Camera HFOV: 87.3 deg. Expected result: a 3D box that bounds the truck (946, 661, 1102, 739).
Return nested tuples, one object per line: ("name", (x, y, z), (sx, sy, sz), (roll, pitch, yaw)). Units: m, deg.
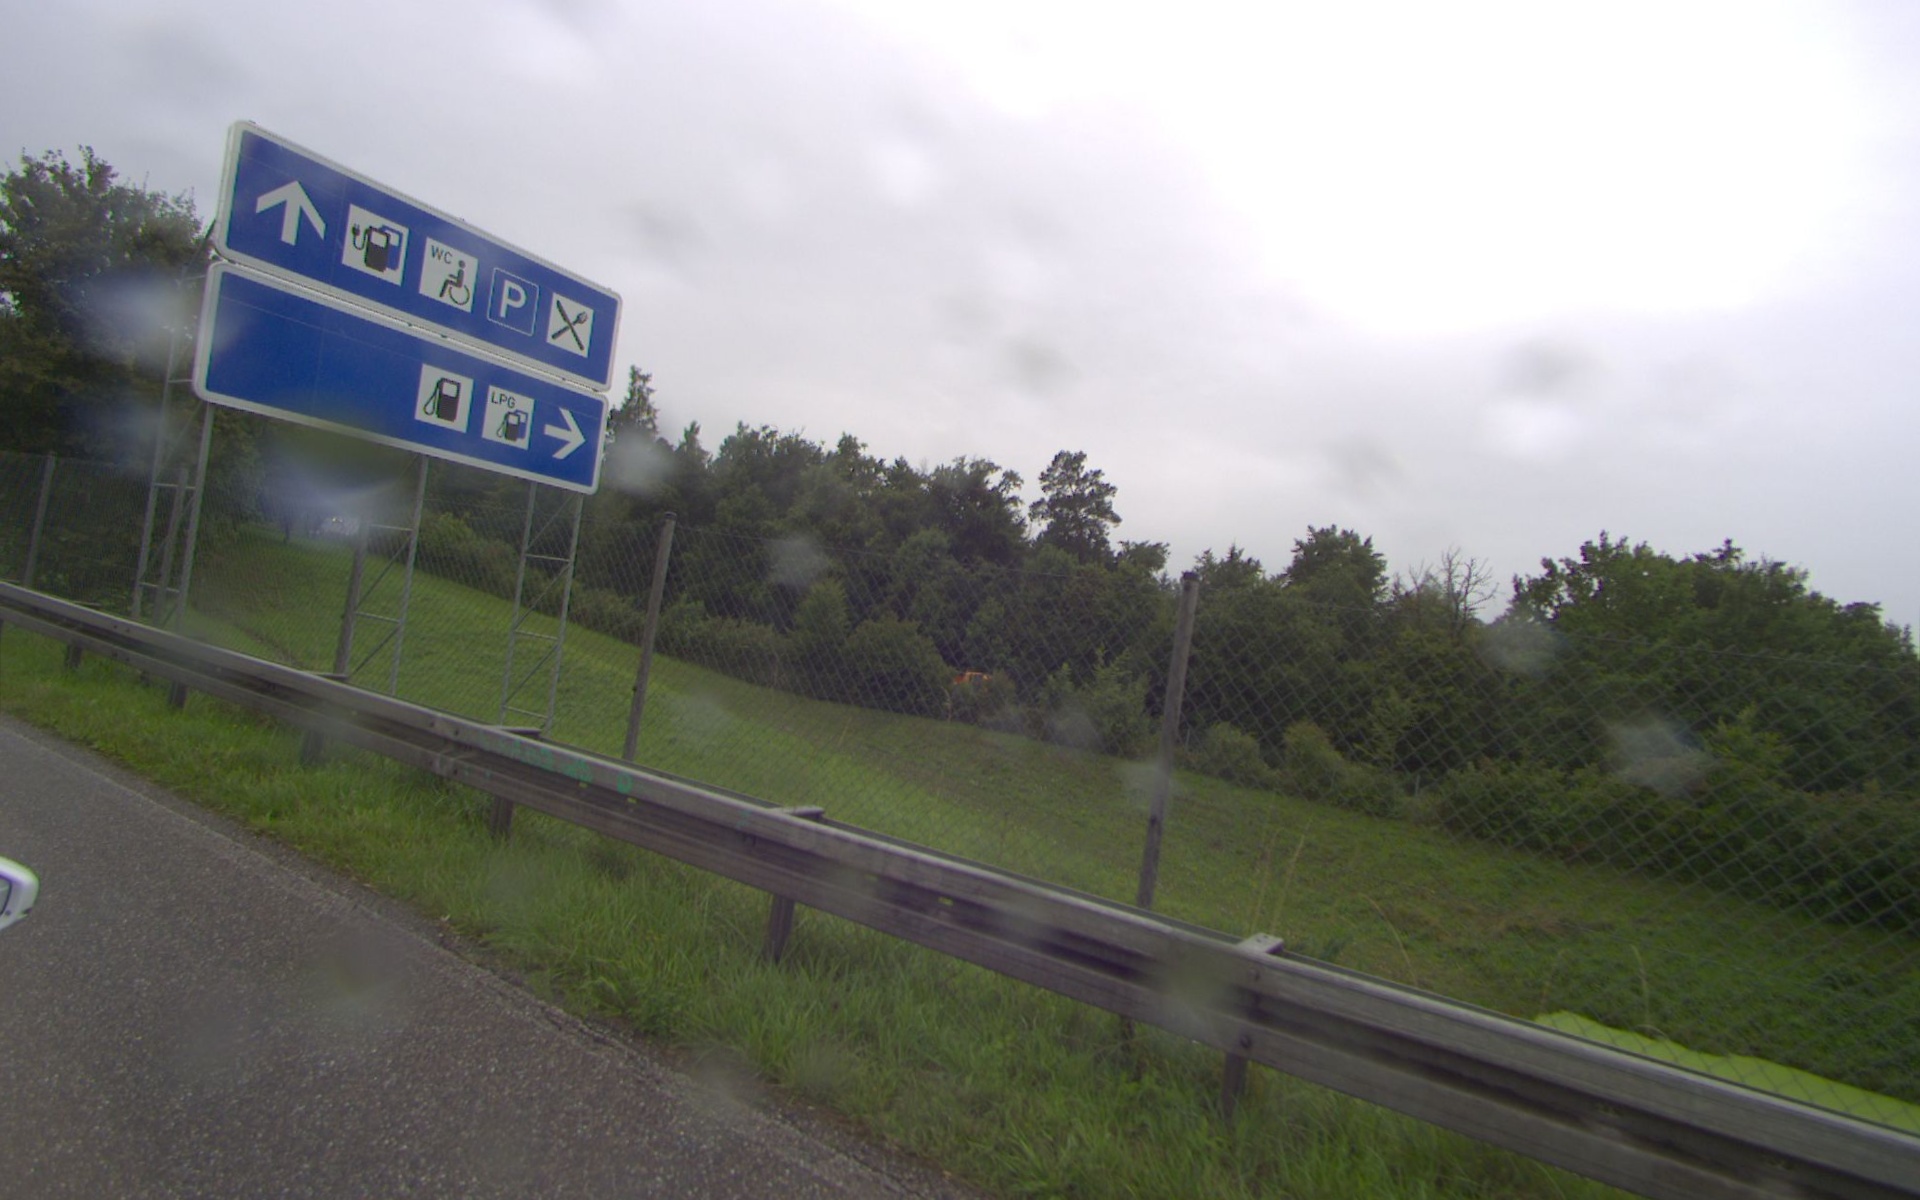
("truck", (3.510, 5.553, 56.457), (8.130, 2.685, 2.838), (8, -6, 34))
